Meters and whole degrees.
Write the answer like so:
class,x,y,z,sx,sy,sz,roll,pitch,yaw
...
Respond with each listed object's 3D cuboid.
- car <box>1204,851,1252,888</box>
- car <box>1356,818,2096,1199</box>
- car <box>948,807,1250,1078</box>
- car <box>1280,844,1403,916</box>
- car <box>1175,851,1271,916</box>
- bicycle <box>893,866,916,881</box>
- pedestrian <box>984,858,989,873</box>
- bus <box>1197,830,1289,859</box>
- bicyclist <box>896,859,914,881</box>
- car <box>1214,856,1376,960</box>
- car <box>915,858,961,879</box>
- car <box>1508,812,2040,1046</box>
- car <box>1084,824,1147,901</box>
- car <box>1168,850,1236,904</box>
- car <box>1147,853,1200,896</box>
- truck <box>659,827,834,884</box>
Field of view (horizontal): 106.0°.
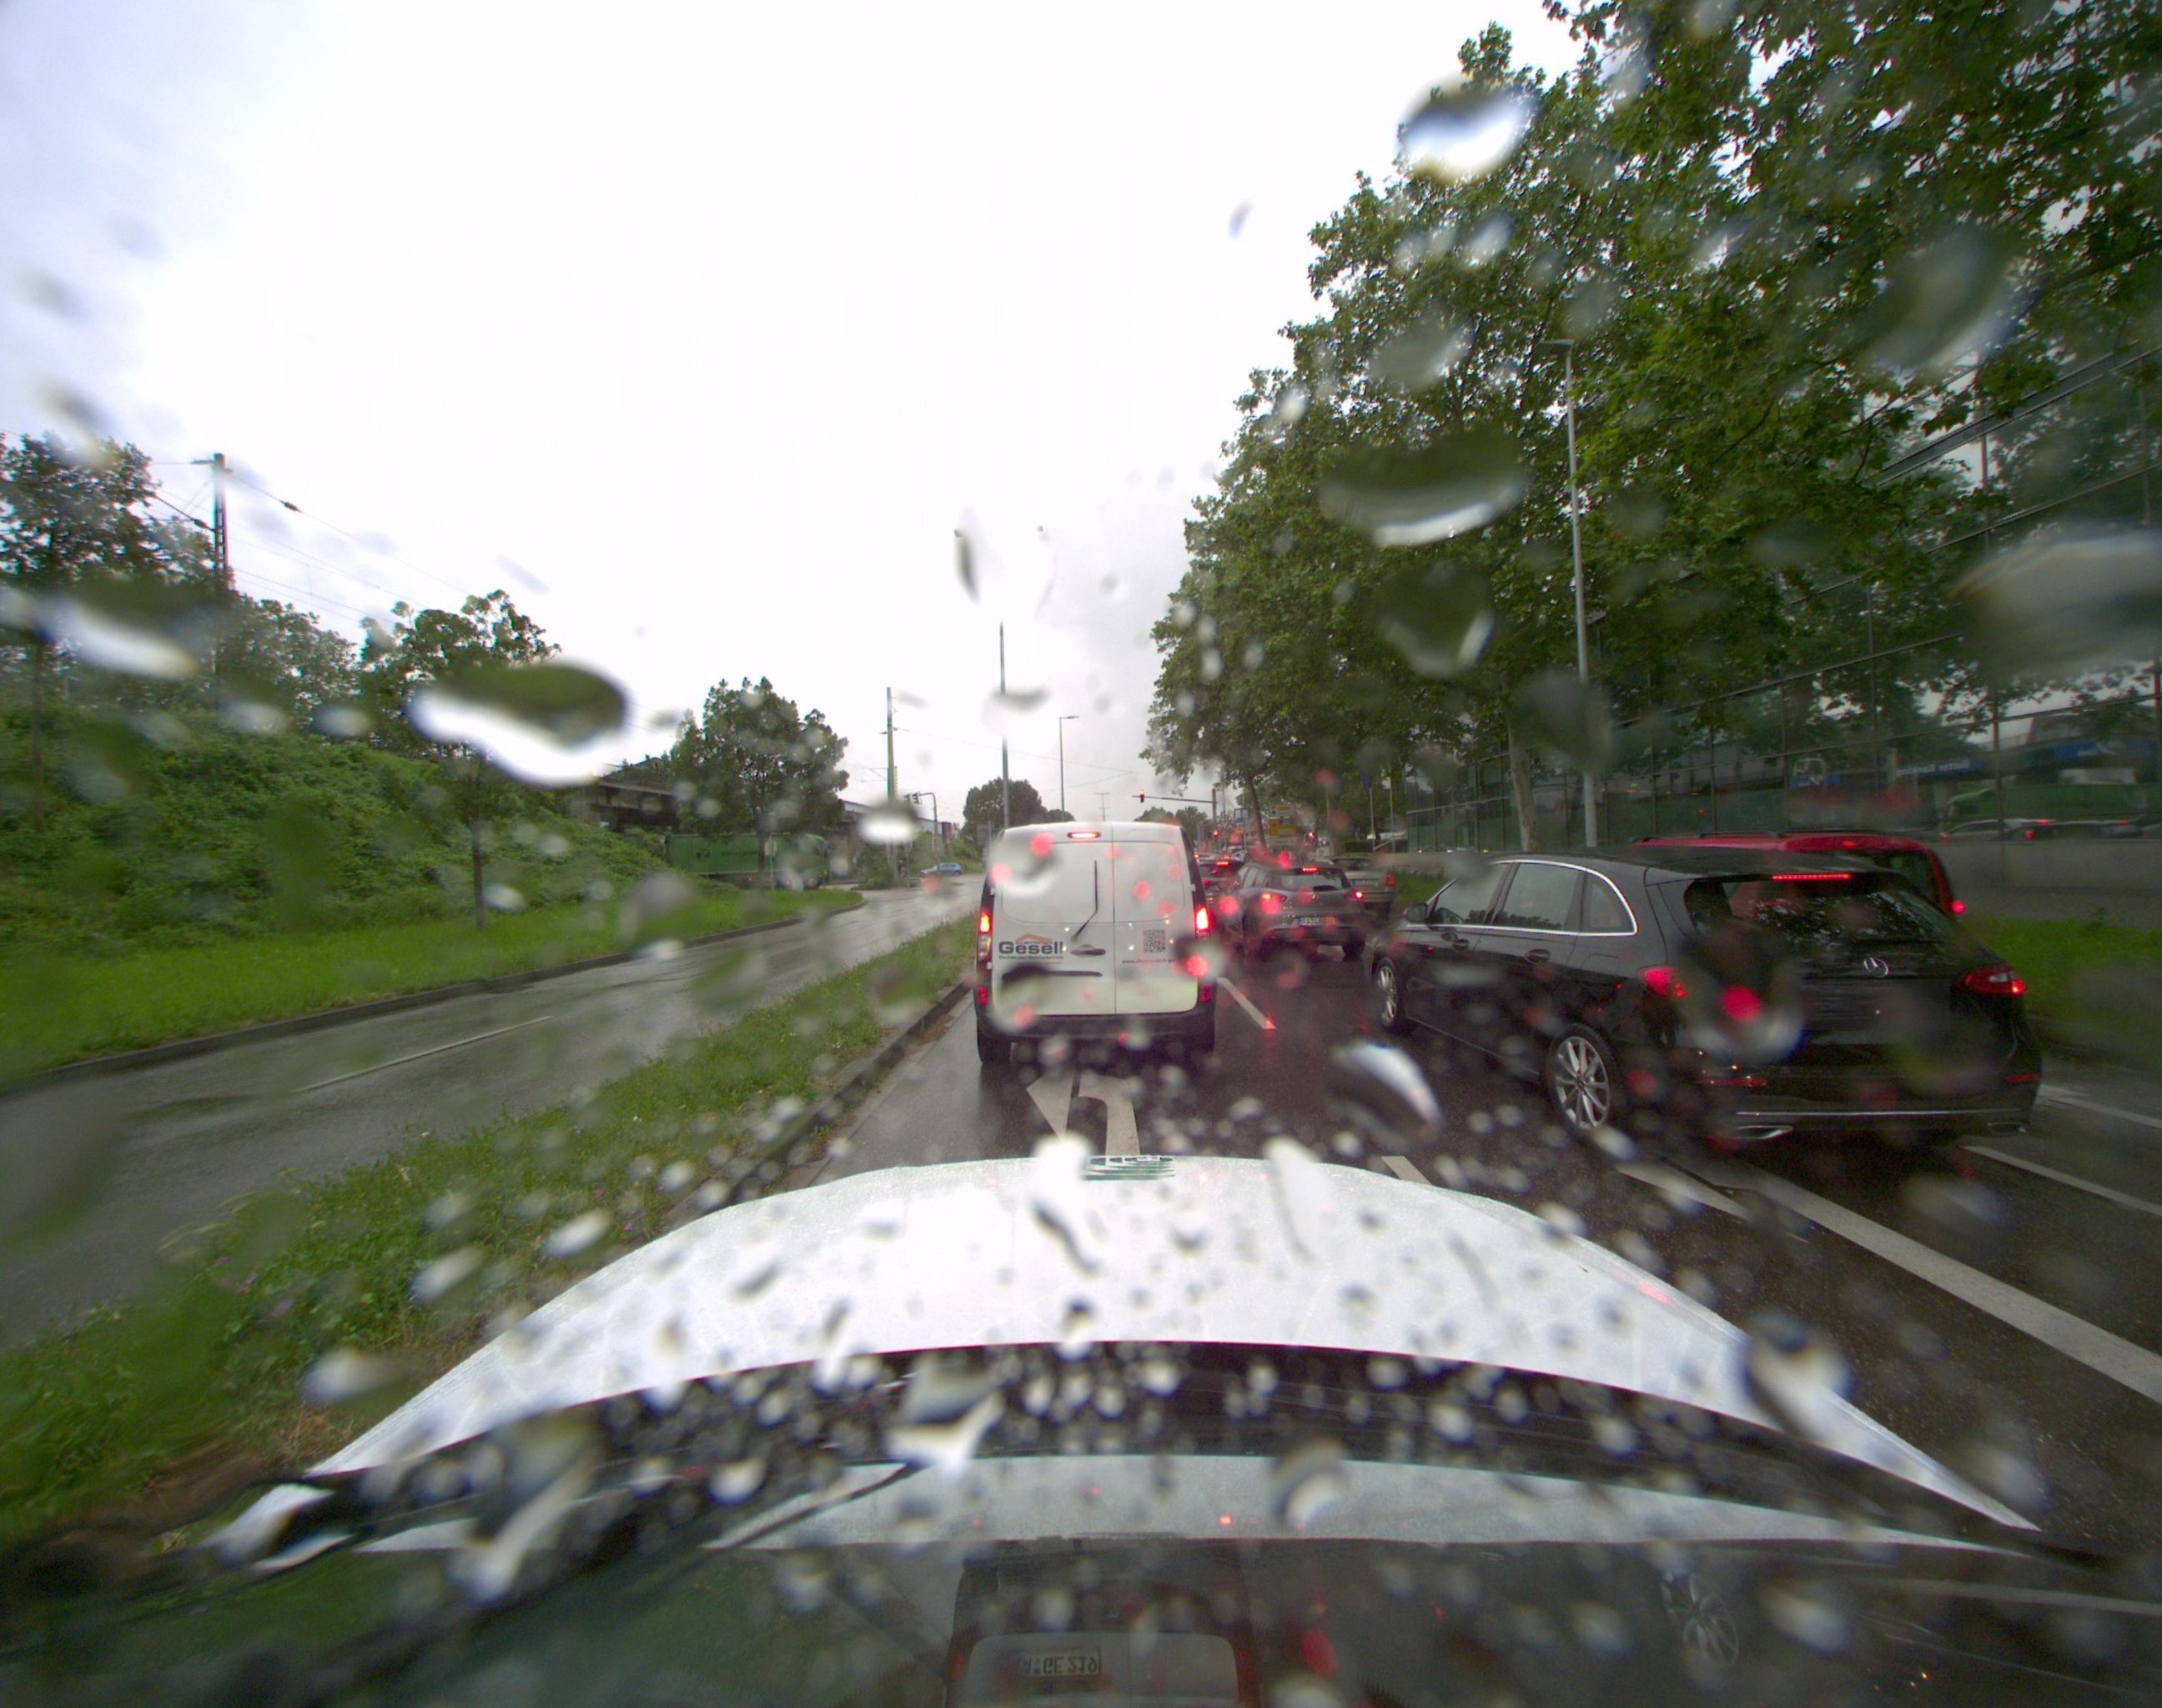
class,x,y,z,sx,sy,sz,roll,pitch,yaw
car,6.904,0.712,38.604,1.702,1.650,3.844,-1,-1,2
car,3.377,0.646,5.439,1.741,1.554,4.091,-1,0,1
car,0.193,0.588,7.762,1.986,1.776,4.587,-1,0,2
car,6.327,0.560,20.247,1.869,1.613,4.002,0,0,2
car,3.502,0.673,20.672,1.847,1.460,3.844,-1,0,2
bicycle,-12.136,1.334,56.009,1.045,0.952,2.866,-2,0,-22
pedestrian,-11.247,1.372,96.616,0.541,1.716,0.563,0,-1,-2
bus,21.887,-1.345,110.582,11.926,3.423,2.316,-2,0,1
bicyclist,-12.125,1.086,55.963,1.045,1.450,0.723,-2,0,-23
car,3.266,0.749,13.159,1.677,1.408,3.844,0,0,1
car,-14.083,1.409,80.406,4.014,1.887,1.980,0,0,-33
car,6.161,0.575,8.074,1.704,1.694,4.273,0,-1,1
car,1.105,0.252,26.477,1.847,2.296,3.844,-1,0,2
car,4.059,0.728,27.891,1.847,1.649,3.844,-1,0,2
car,3.754,0.814,33.564,1.847,1.650,3.844,-1,-1,2
truck,-21.314,0.019,52.339,10.105,3.371,2.322,-2,0,-35
